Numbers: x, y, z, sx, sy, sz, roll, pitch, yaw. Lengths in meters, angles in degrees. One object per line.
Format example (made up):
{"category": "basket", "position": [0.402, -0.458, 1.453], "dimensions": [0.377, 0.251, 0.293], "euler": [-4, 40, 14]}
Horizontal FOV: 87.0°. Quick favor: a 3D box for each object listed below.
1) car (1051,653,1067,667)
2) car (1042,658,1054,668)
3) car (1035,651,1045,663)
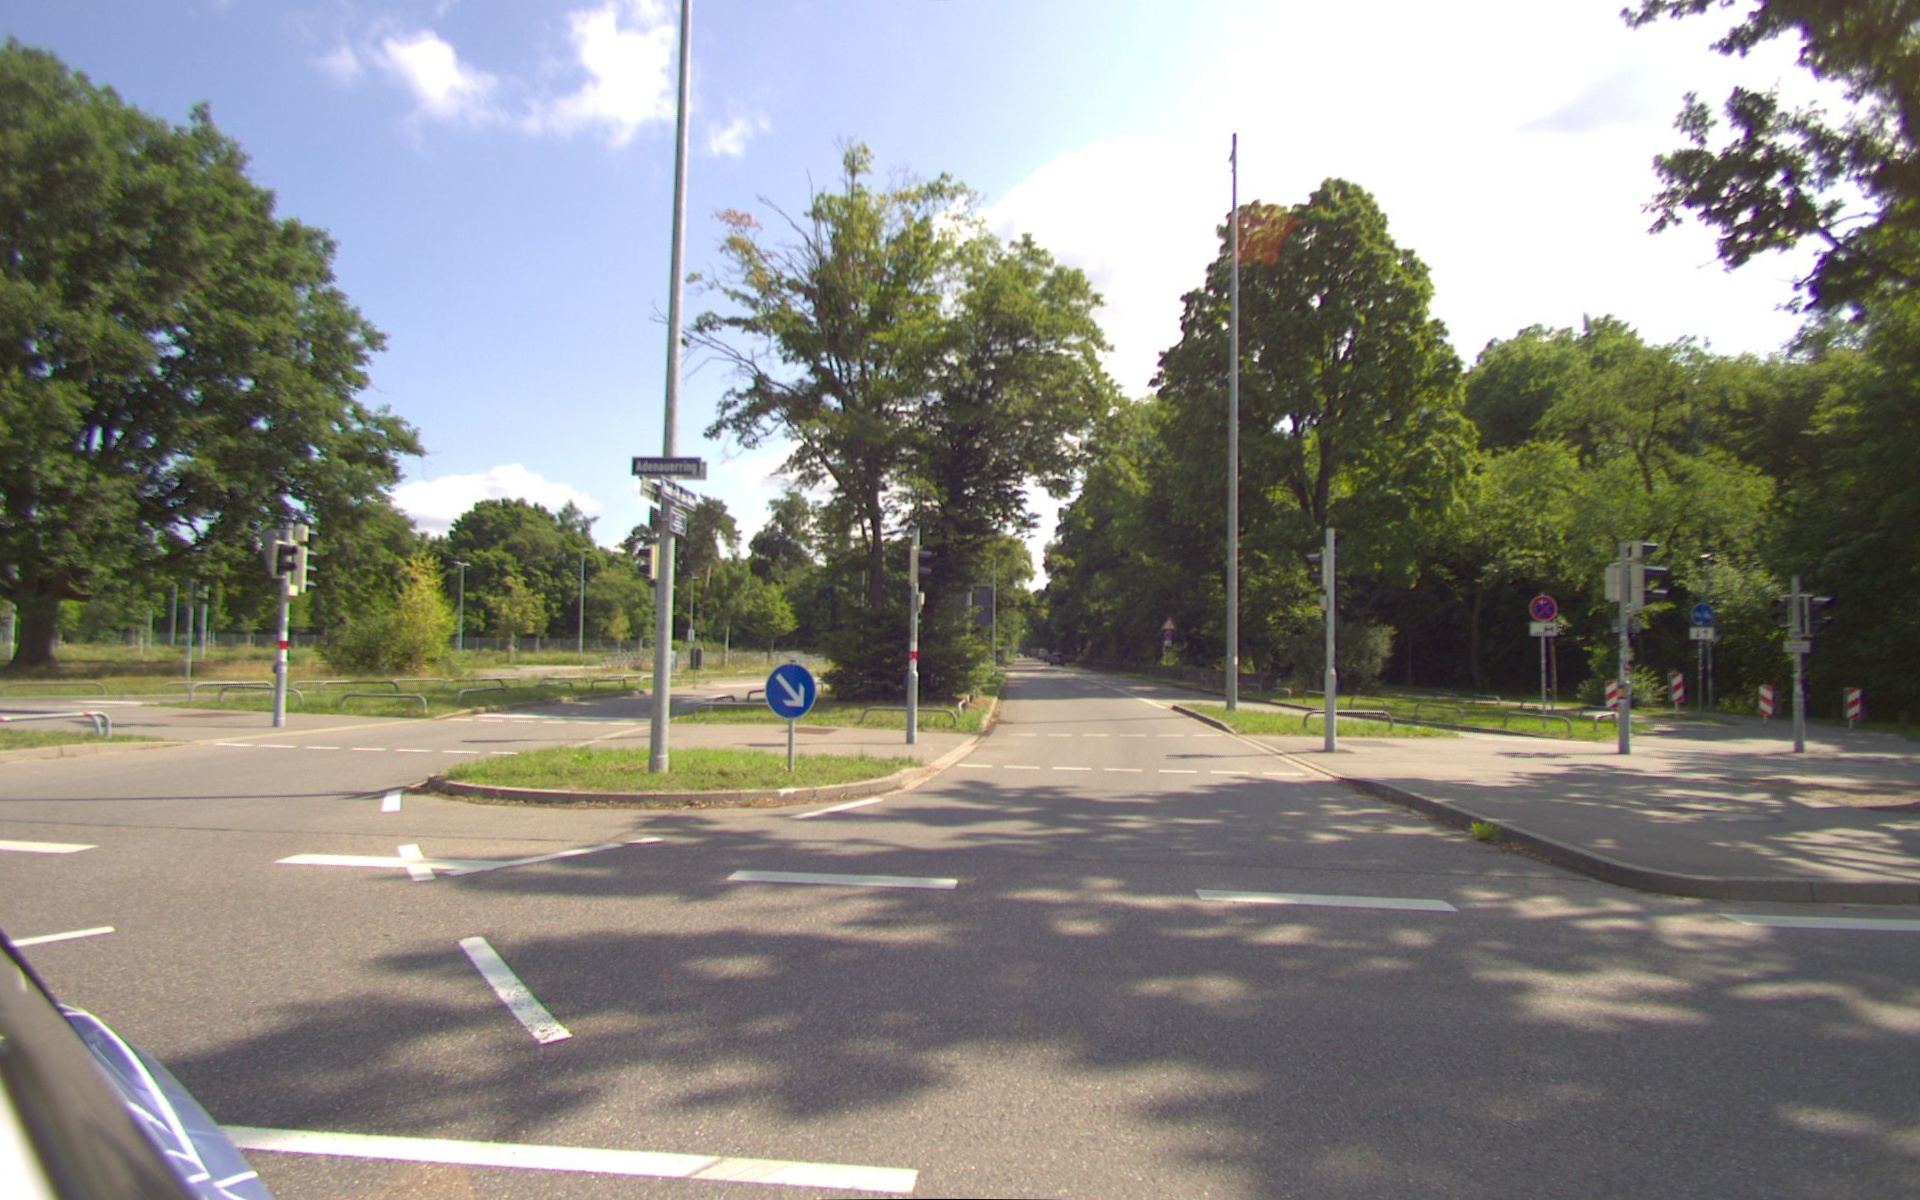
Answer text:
{"category": "car", "position": [12.383, 7.513, 126.299], "dimensions": [1.743, 1.642, 4.294], "euler": [-1, -4, 3]}
{"category": "car", "position": [14.315, 10.197, 164.130], "dimensions": [1.680, 1.457, 4.056], "euler": [-1, -2, 8]}
{"category": "car", "position": [17.220, 12.280, 218.759], "dimensions": [1.955, 2.449, 5.358], "euler": [-1, -2, 3]}
